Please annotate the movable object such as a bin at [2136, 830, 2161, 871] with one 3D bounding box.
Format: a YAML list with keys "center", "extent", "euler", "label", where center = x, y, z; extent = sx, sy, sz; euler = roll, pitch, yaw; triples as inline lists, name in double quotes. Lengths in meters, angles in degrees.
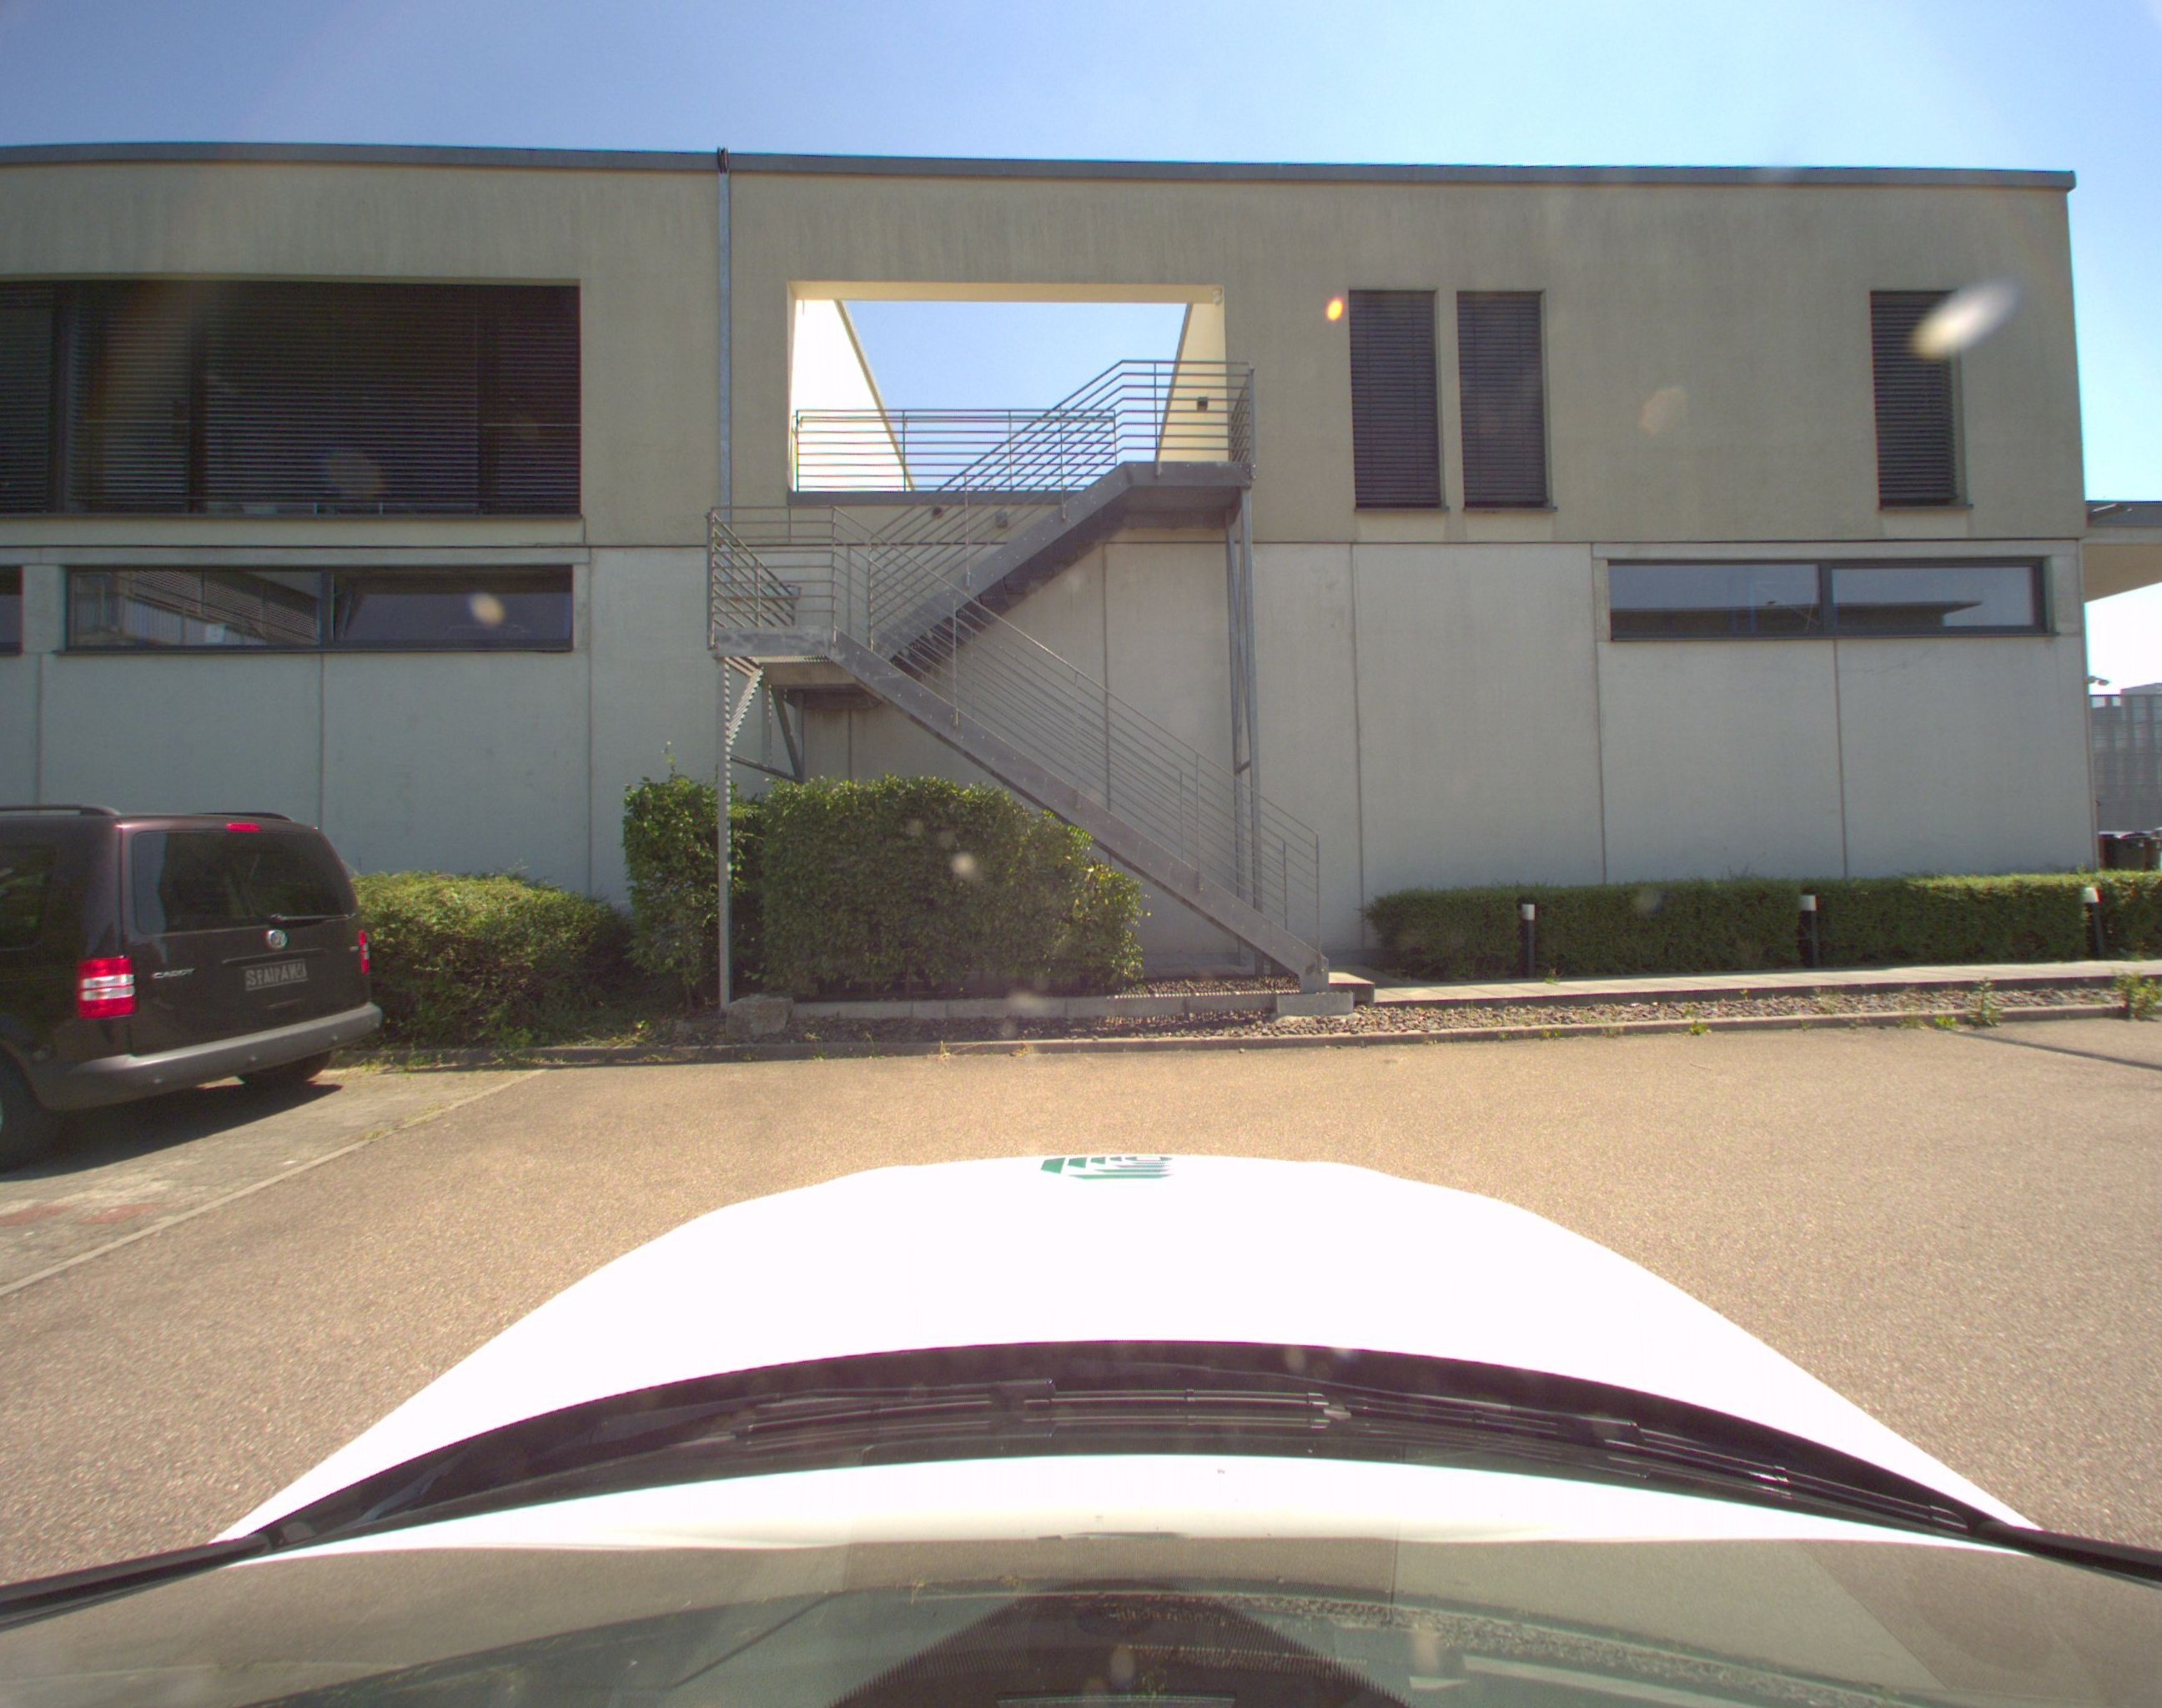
- center: [27.124, -0.094, 20.547]
  extent: [0.427, 1.036, 0.572]
  euler: [-1, -1, -35]
  label: "movable object such as a bin"

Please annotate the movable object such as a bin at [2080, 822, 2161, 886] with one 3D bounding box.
- center: [22.879, 0.011, 17.863]
  extent: [0.877, 1.345, 0.814]
  euler: [-2, -1, 4]
  label: "movable object such as a bin"

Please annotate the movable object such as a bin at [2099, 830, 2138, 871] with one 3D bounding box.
- center: [26.793, -0.087, 21.037]
  extent: [0.427, 1.027, 0.575]
  euler: [-1, -1, -35]
  label: "movable object such as a bin"

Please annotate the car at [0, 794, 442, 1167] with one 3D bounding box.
- center: [-6.802, 0.677, 4.961]
  extent: [4.205, 1.860, 1.867]
  euler: [-2, 0, -3]
  label: "car"
